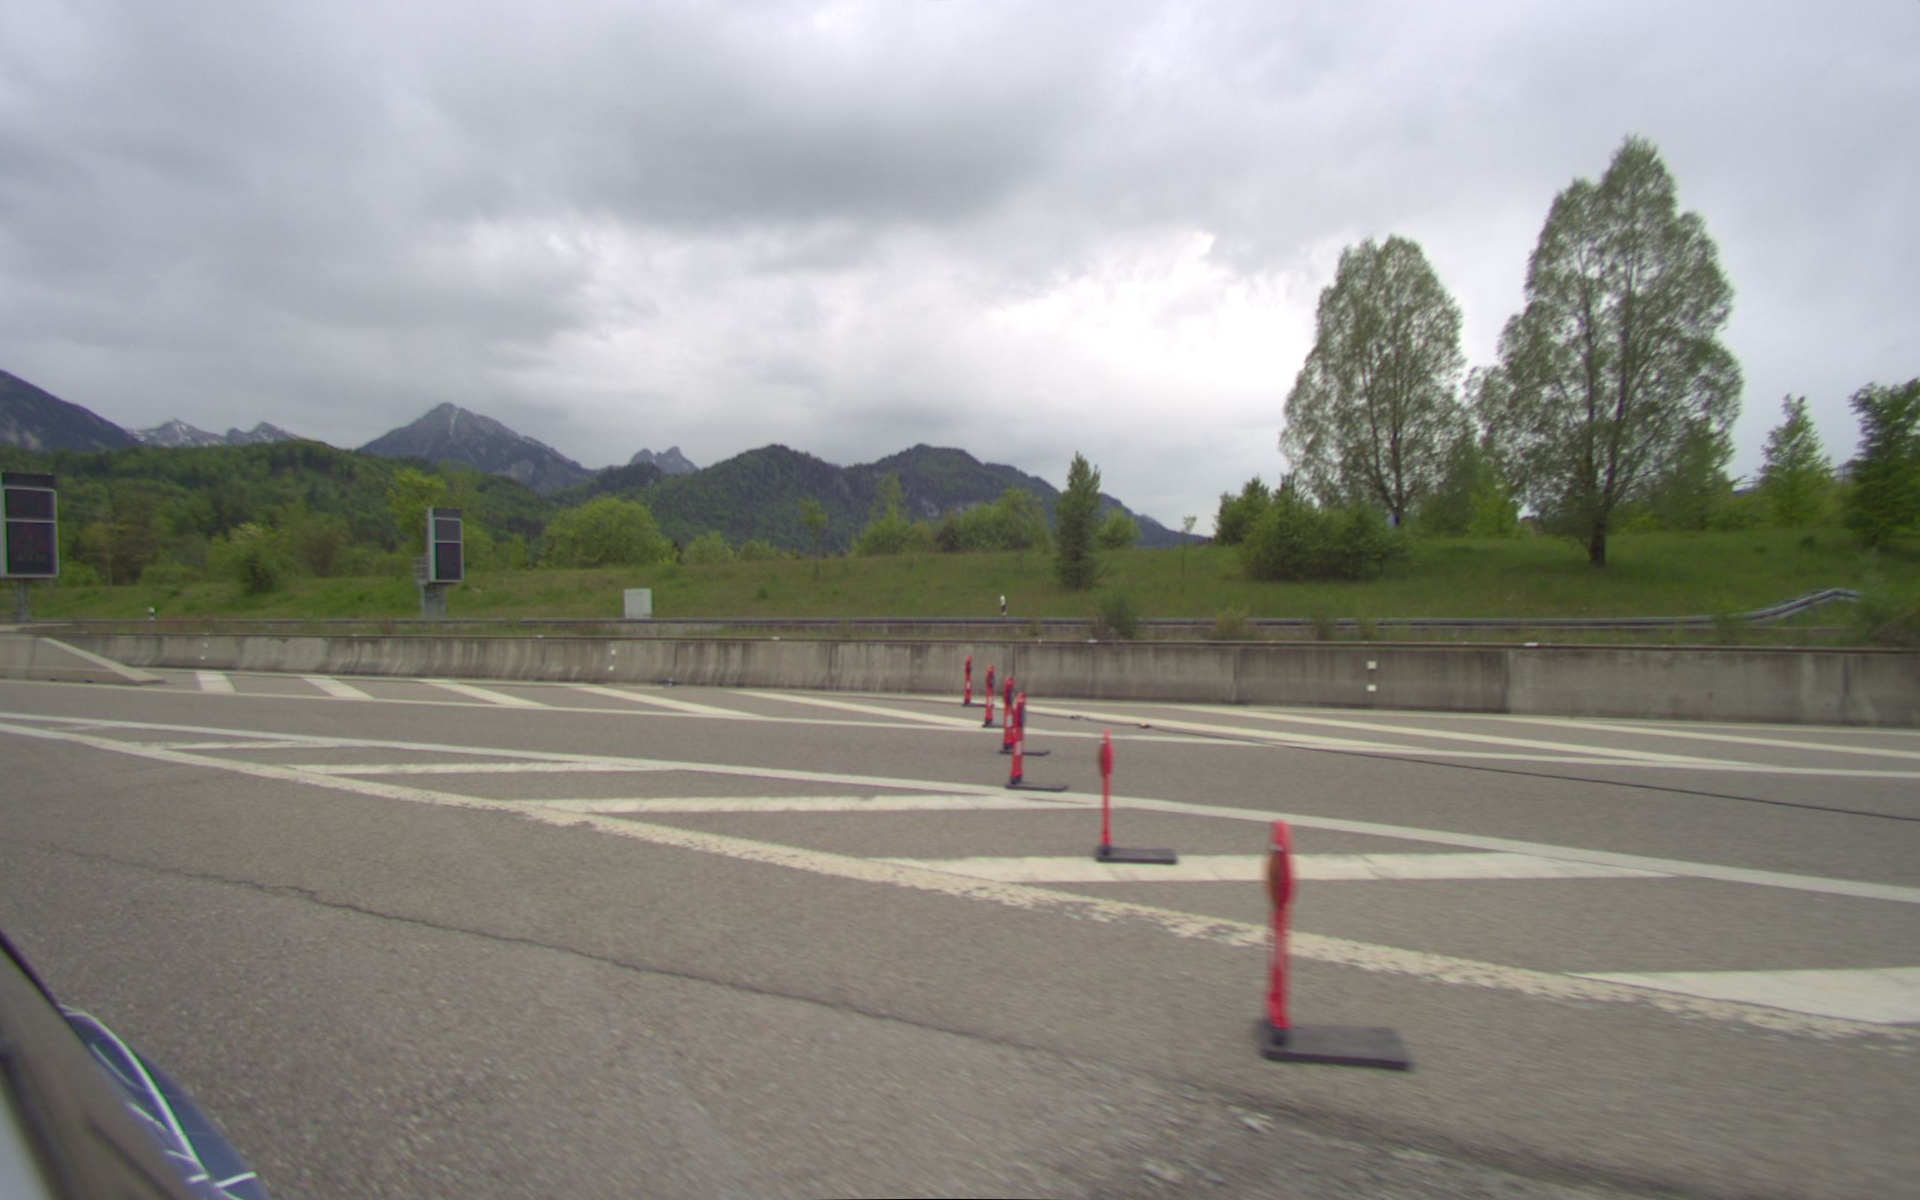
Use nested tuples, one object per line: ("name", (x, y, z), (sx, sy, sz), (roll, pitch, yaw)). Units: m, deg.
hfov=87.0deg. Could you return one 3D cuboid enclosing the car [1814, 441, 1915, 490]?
("car", (62.581, -9.259, 70.201), (1.974, 2.269, 5.745), (0, -4, 3))
